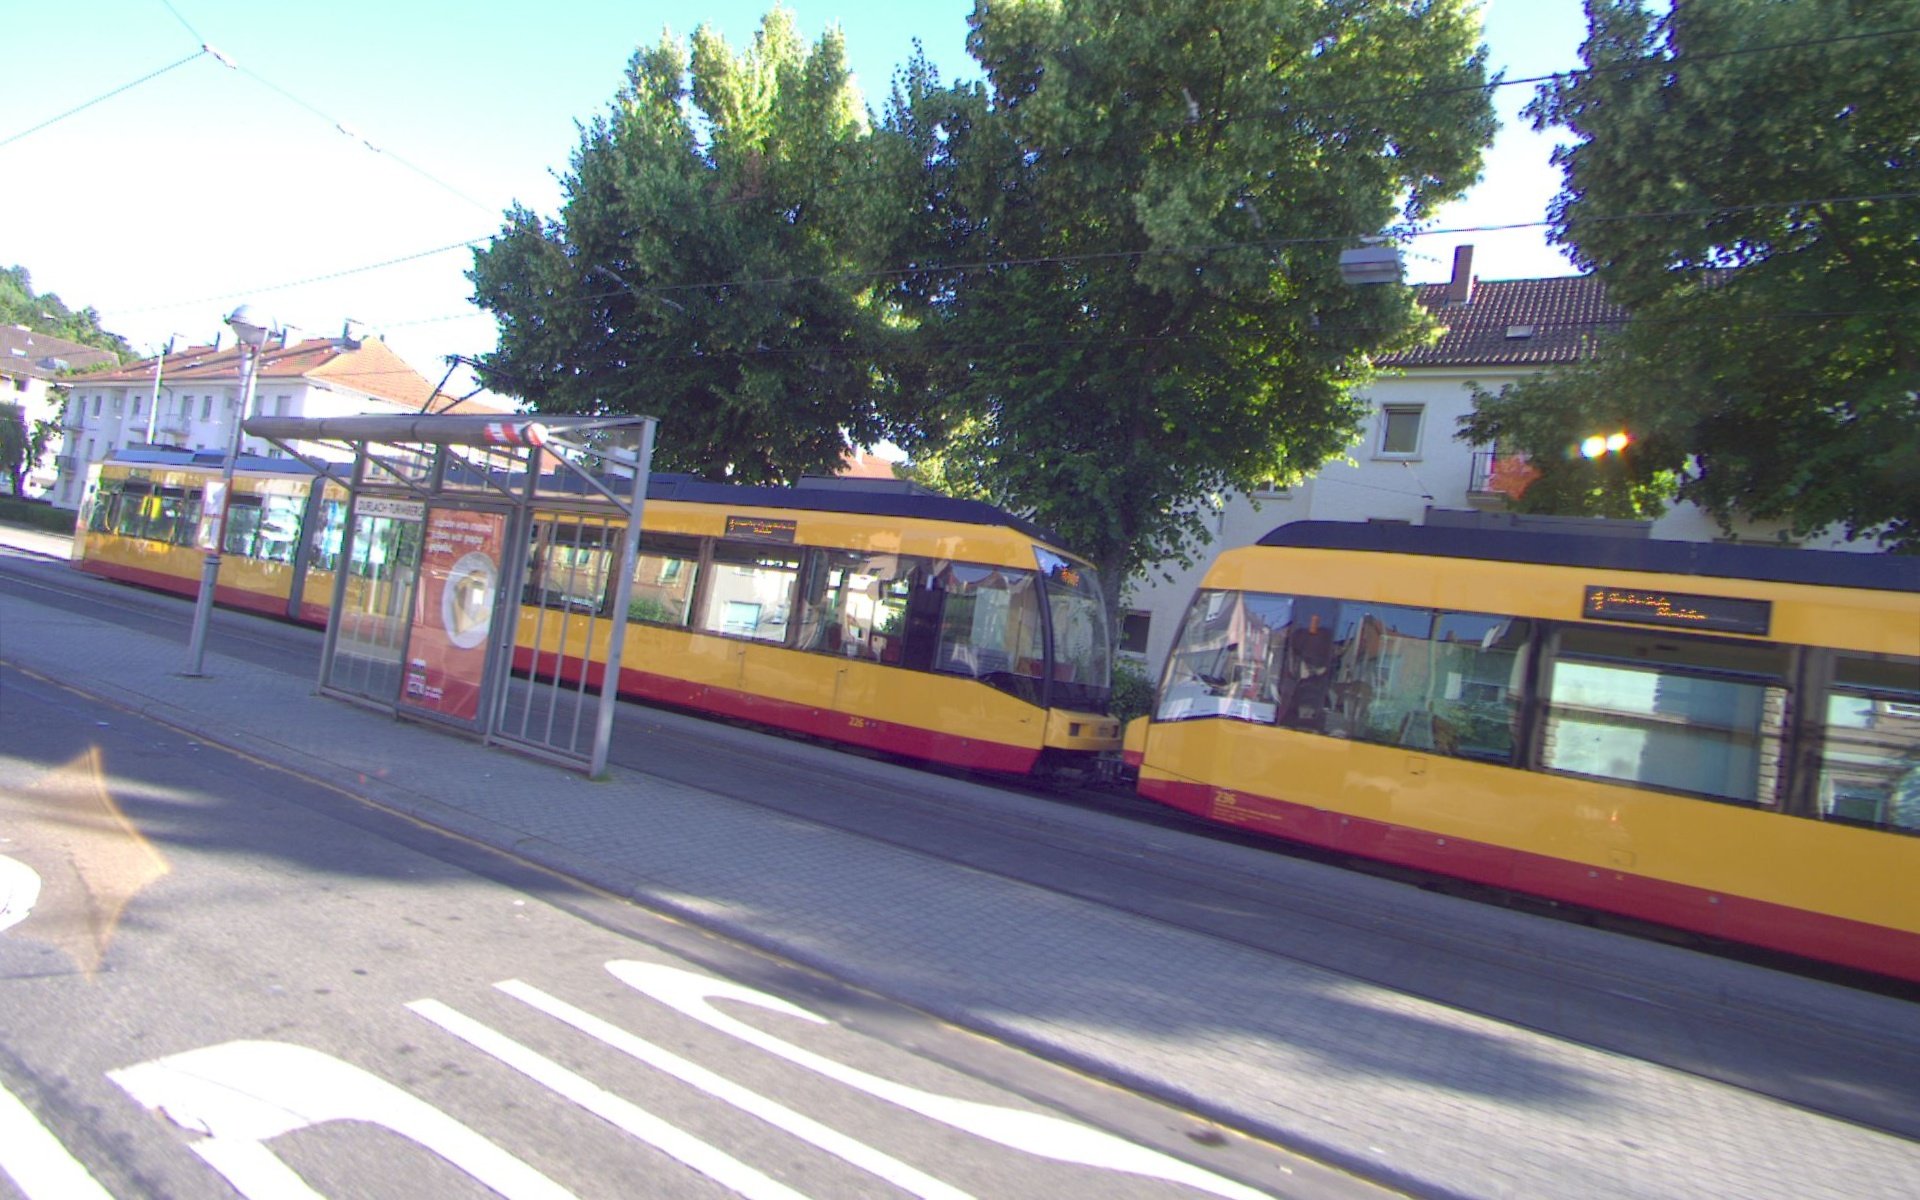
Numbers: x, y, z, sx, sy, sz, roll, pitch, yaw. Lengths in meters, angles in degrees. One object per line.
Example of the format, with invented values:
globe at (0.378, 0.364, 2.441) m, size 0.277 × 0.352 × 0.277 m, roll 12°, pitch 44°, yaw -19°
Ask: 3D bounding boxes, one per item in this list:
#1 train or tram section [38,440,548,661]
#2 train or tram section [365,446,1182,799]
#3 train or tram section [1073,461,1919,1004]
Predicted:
train or tram section at (-15.732, -1.429, 22.654) m, size 15.705 × 3.575 × 2.963 m, roll 6°, pitch -2°, yaw 32°
train or tram section at (-3.693, -0.155, 15.192) m, size 13.241 × 3.575 × 2.963 m, roll 6°, pitch -2°, yaw 32°
train or tram section at (8.781, 1.346, 7.352) m, size 15.670 × 3.461 × 2.964 m, roll 7°, pitch -1°, yaw 31°
